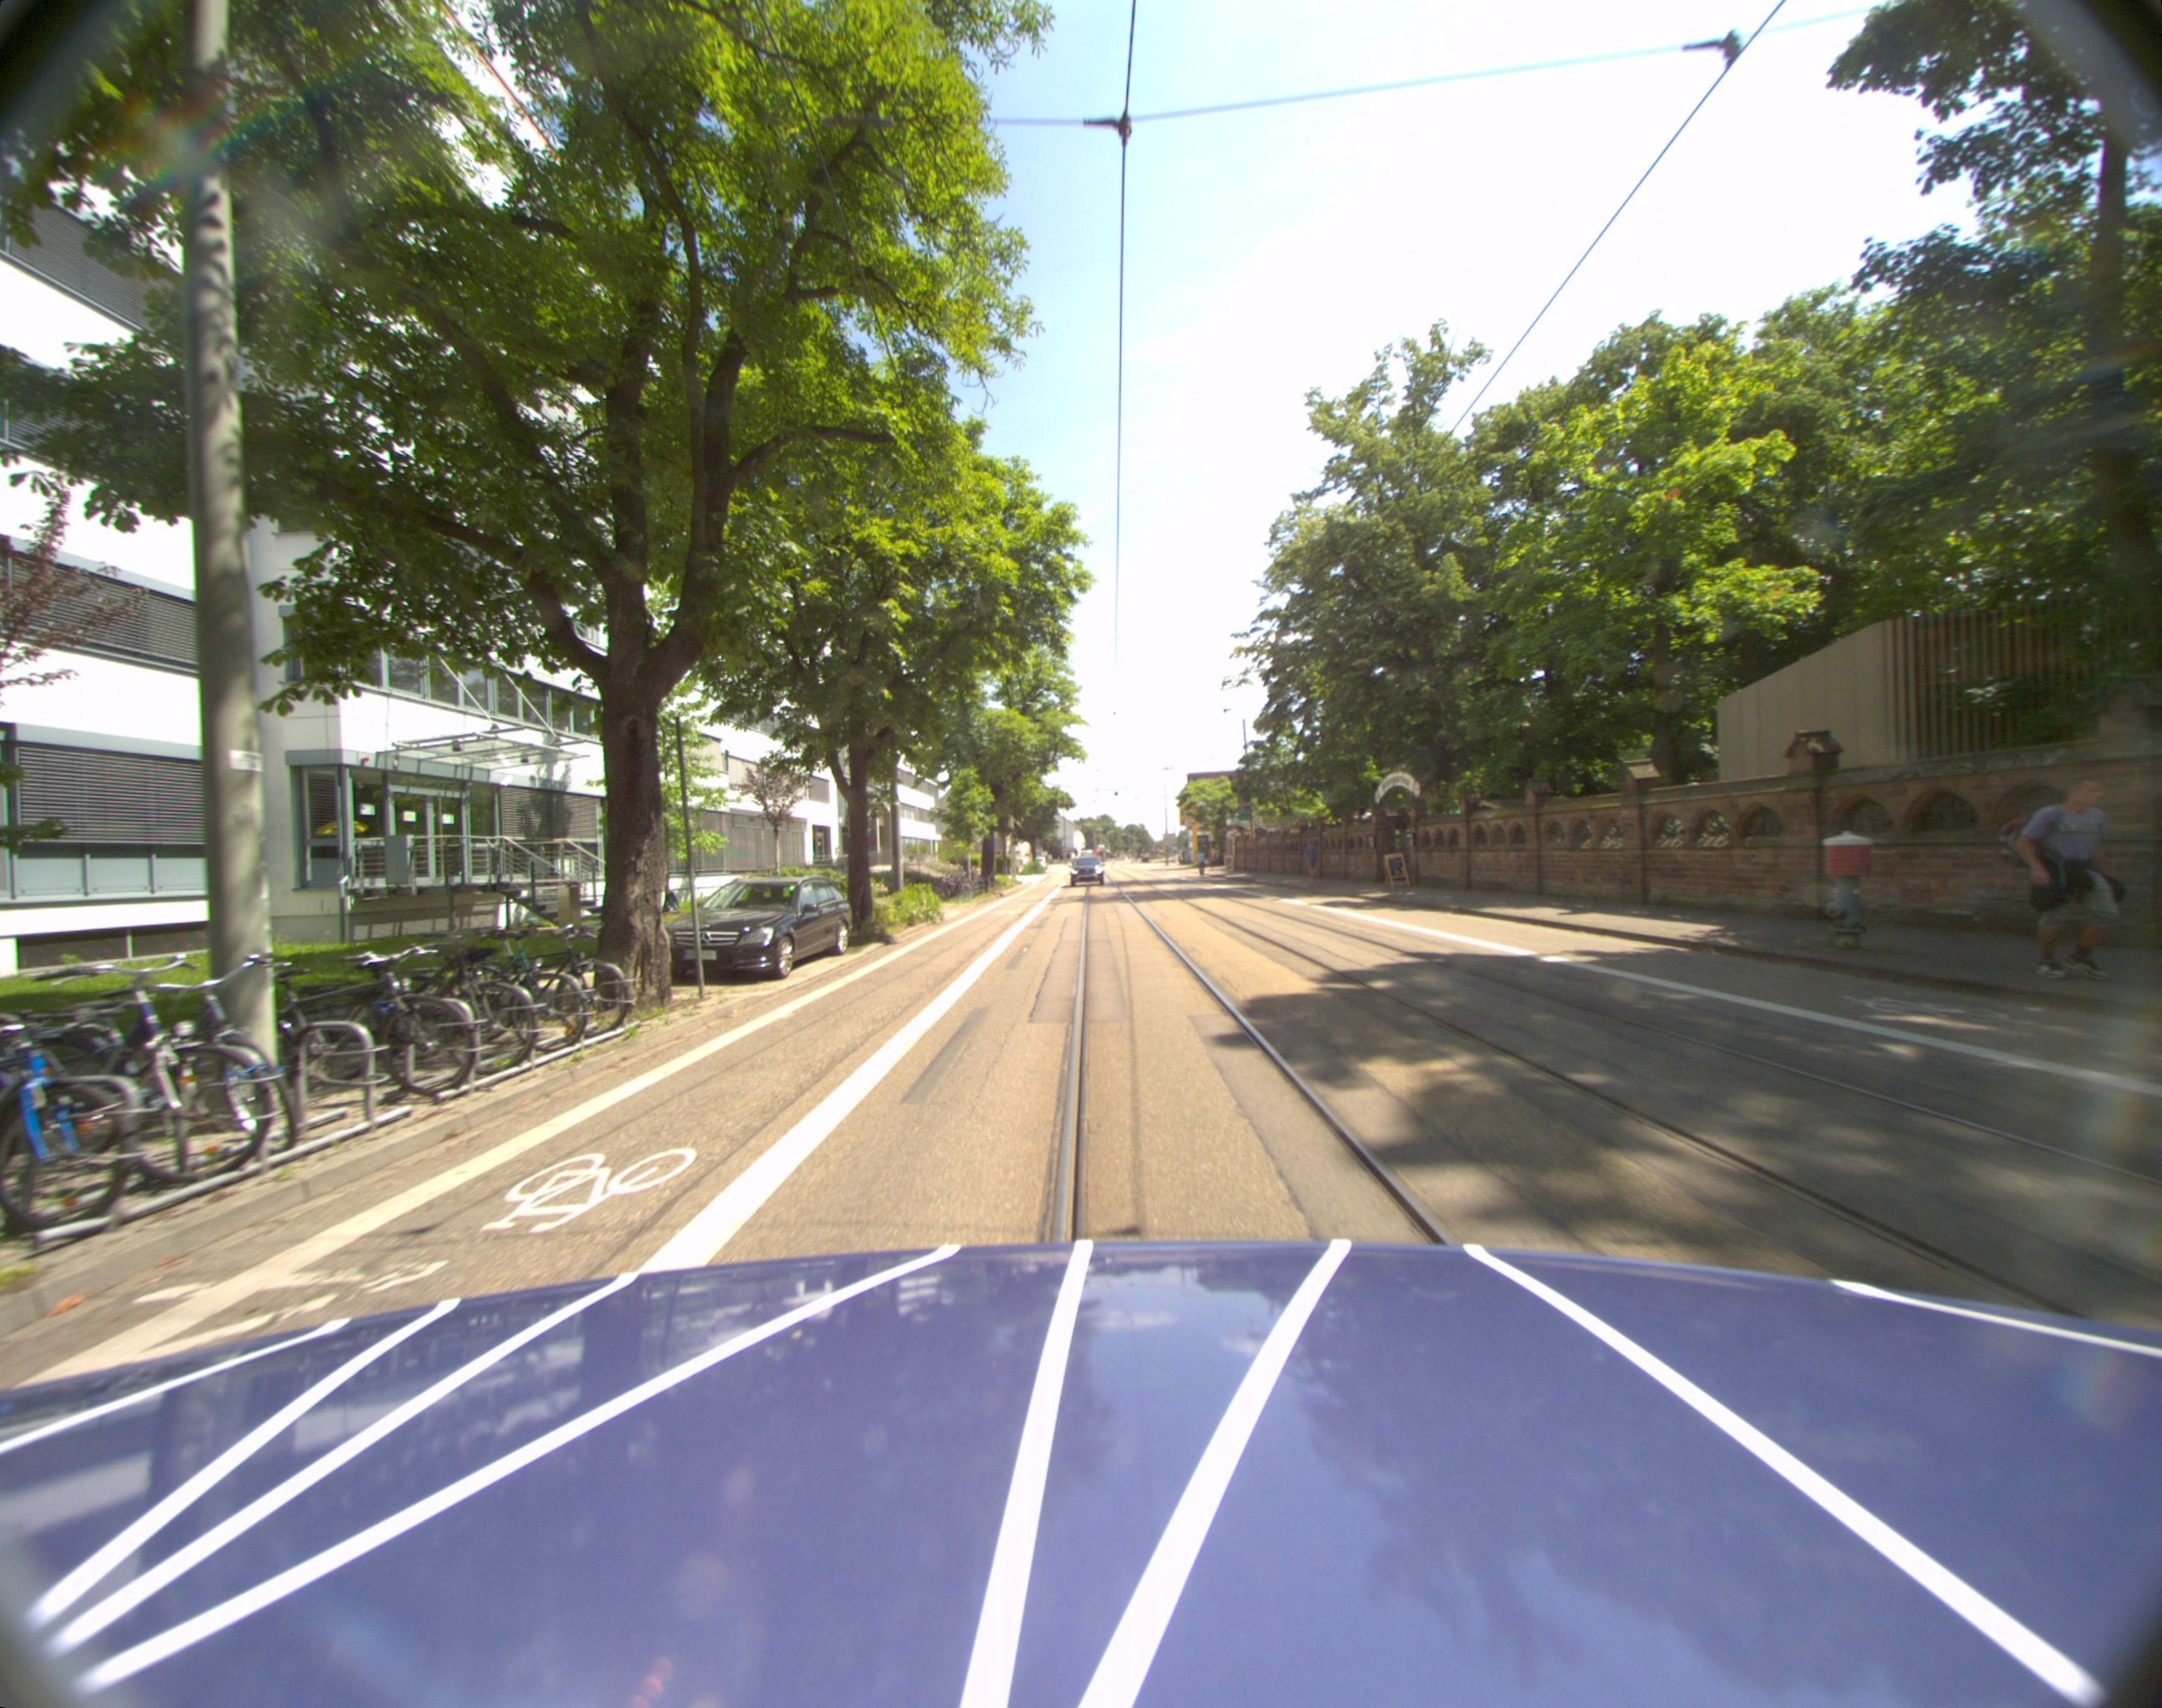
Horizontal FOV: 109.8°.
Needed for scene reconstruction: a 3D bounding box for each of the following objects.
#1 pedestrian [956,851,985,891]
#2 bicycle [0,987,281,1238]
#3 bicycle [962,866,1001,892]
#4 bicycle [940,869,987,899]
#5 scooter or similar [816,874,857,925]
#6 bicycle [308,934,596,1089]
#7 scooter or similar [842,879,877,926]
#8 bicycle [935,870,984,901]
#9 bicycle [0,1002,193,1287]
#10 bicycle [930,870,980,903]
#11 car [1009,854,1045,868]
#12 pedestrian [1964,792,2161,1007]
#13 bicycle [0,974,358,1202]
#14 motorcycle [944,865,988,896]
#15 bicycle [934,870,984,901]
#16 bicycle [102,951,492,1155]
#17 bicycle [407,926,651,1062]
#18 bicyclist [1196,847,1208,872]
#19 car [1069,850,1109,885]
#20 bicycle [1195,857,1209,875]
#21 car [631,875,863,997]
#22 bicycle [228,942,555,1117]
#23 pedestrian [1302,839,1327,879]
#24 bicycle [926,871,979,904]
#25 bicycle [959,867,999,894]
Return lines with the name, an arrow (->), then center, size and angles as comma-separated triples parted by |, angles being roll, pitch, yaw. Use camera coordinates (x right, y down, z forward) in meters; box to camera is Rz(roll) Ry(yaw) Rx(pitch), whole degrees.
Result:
pedestrian -> -5.255, 0.815, 36.140 | 0.986, 1.822, 0.786 | -3, 1, -42
bicycle -> -5.173, 1.276, 3.807 | 1.812, 1.105, 0.395 | -1, 1, -2
bicycle -> -4.832, 1.222, 36.834 | 1.819, 1.158, 0.710 | -2, 0, -7
bicycle -> -4.901, 1.251, 31.725 | 1.812, 1.105, 0.569 | -4, 1, -3
scooter or similar -> -6.072, 1.112, 18.933 | 0.541, 1.201, 1.385 | 0, 0, 0
bicycle -> -5.185, 1.279, 6.357 | 1.813, 1.105, 0.535 | -1, 1, -8
scooter or similar -> -6.050, 1.297, 20.811 | 0.541, 1.201, 1.385 | 0, 0, 0
bicycle -> -4.864, 1.248, 30.560 | 1.812, 1.105, 0.569 | -4, 1, -3
bicycle -> -5.167, 1.276, 3.376 | 1.812, 1.105, 0.449 | -1, 1, -2
bicycle -> -4.854, 1.251, 29.347 | 1.812, 1.105, 0.569 | -4, 1, -3
car -> -8.038, 1.021, 113.262 | 5.214, 1.731, 1.999 | -3, 0, -3
pedestrian -> 8.997, 0.383, 6.917 | 0.723, 1.781, 0.919 | -5, 0, 1
bicycle -> -5.139, 1.268, 4.206 | 1.812, 1.105, 0.395 | -1, 1, -2
motorcycle -> -5.039, 1.163, 33.392 | 1.819, 1.269, 0.720 | -2, 0, -7
bicycle -> -4.814, 1.240, 29.991 | 1.812, 1.105, 0.569 | -4, 1, -3
bicycle -> -5.129, 1.272, 5.079 | 1.814, 1.105, 0.489 | -1, 1, -13
bicycle -> -5.045, 1.264, 7.007 | 1.812, 1.105, 0.514 | -1, 1, -3
bicyclist -> 8.008, 0.346, 50.366 | 0.665, 1.615, 0.919 | 0, 0, 1
car -> 0.426, 0.711, 41.822 | 1.998, 1.731, 4.227 | -3, 0, 1
bicycle -> 8.005, 0.778, 50.241 | 0.661, 1.156, 1.896 | 0, 0, 1
car -> -5.082, 1.150, 12.357 | 1.680, 1.458, 4.634 | -1, 0, 0
bicycle -> -5.123, 1.281, 5.737 | 1.813, 1.105, 0.533 | -1, 1, -8
pedestrian -> 10.747, 0.223, 35.012 | 0.750, 1.738, 0.919 | -4, 0, 1
bicycle -> -4.856, 1.252, 28.680 | 1.846, 1.105, 0.569 | -4, 1, -3
bicycle -> -4.757, 1.219, 35.527 | 1.819, 1.158, 0.710 | -2, 0, -7
